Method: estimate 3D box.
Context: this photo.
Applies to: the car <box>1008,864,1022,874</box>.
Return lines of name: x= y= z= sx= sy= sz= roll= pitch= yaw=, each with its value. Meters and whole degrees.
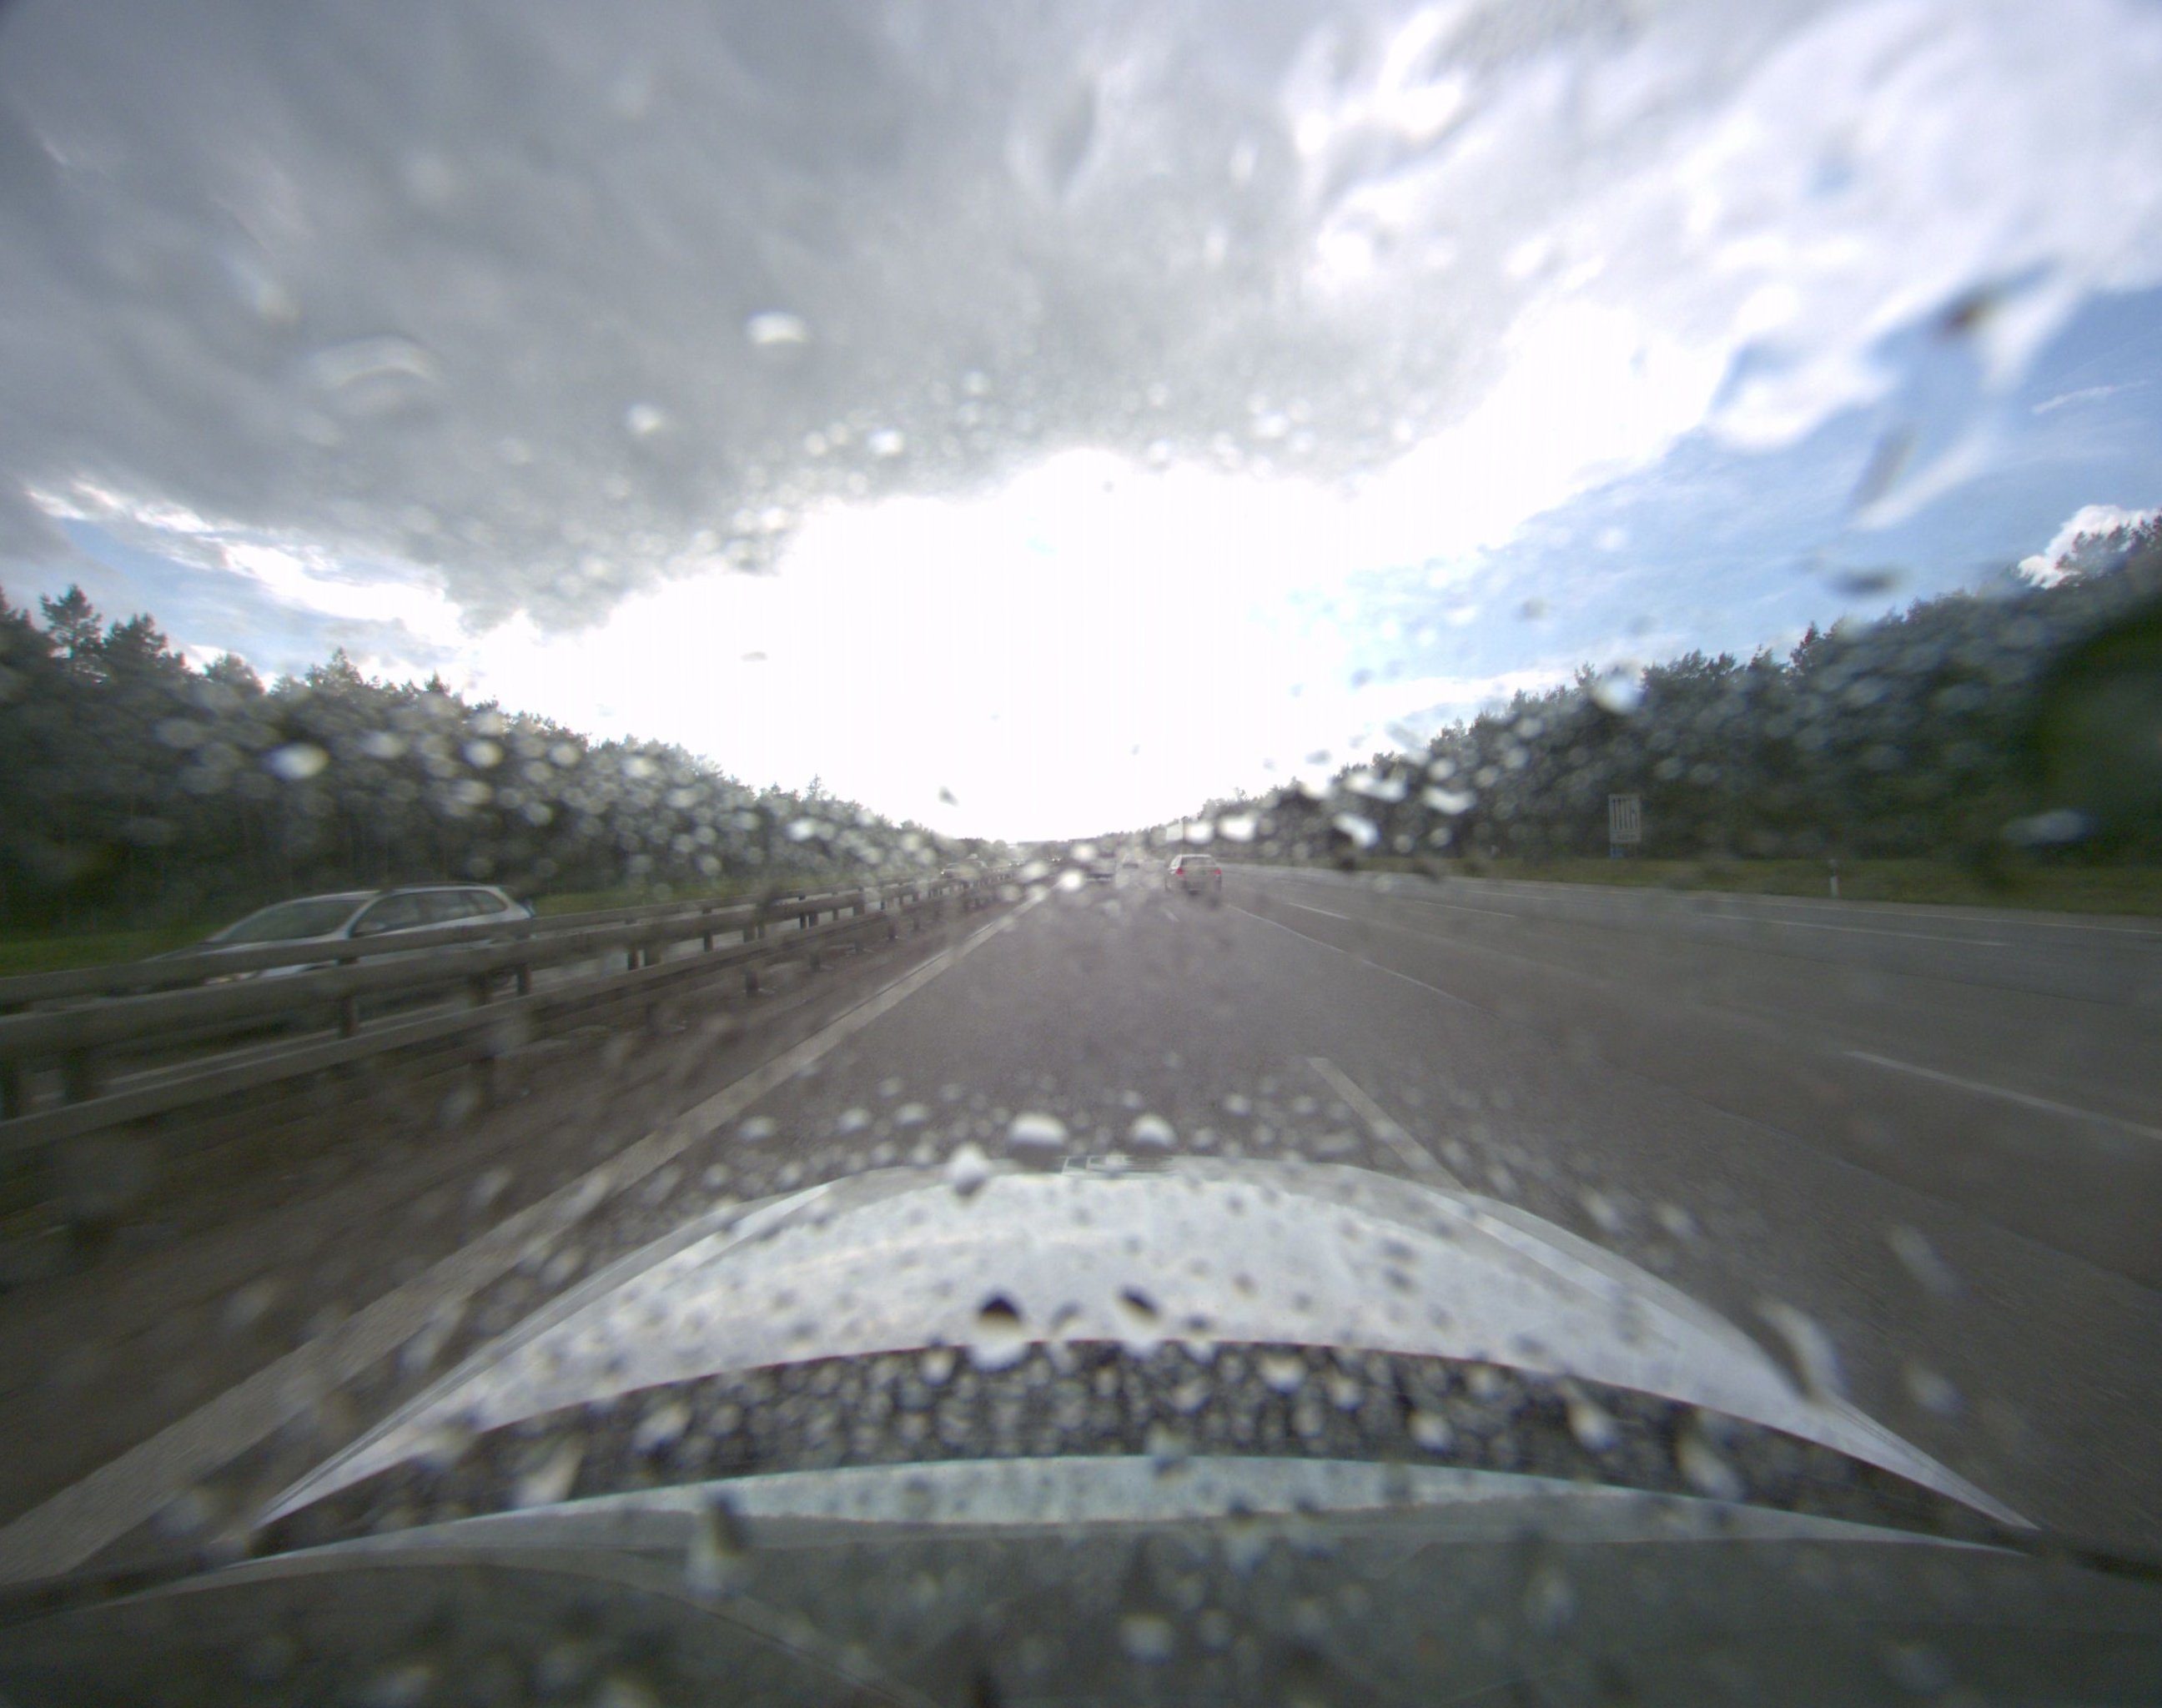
car: x=-10.535 y=2.336 z=130.254 sx=1.723 sy=1.481 sz=3.999 roll=-3 pitch=0 yaw=0

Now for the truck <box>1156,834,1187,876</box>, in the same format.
truck: x=8.727 y=0.149 z=78.915 sx=2.287 sy=3.868 sz=5.389 roll=-1 pitch=0 yaw=-1

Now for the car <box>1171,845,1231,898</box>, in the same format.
car: x=4.594 y=0.633 z=31.752 sx=2.067 sy=1.885 sz=5.019 roll=-1 pitch=0 yaw=6

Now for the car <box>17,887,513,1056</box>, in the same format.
car: x=-8.974 y=1.170 z=9.556 sx=1.686 sy=1.376 sz=4.001 roll=-2 pitch=0 yaw=2

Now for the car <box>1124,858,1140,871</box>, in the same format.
car: x=5.916 y=1.216 z=95.223 sx=1.823 sy=1.466 sz=4.003 roll=-1 pitch=0 yaw=3

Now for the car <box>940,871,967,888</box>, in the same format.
car: x=-11.620 y=2.291 z=74.395 sx=1.823 sy=1.420 sz=4.570 roll=-1 pitch=0 yaw=-1

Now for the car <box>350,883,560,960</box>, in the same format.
car: x=-16.288 y=1.689 z=21.568 sx=1.893 sy=1.547 sz=4.514 roll=-4 pitch=0 yaw=2

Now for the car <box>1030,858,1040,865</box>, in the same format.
car: x=-10.302 y=1.656 z=181.021 sx=1.805 sy=1.422 sz=4.236 roll=-4 pitch=0 yaw=0

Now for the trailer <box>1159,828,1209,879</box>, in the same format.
trailer: x=8.893 y=0.022 z=71.784 sx=2.317 sy=4.001 sz=13.404 roll=-1 pitch=0 yaw=-1

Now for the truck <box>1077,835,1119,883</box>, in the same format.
truck: x=0.953 y=0.275 z=45.356 sx=2.130 sy=2.489 sz=5.314 roll=-1 pitch=0 yaw=1

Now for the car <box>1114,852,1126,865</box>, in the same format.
car: x=6.544 y=0.765 z=137.838 sx=1.901 sy=2.013 sz=4.002 roll=-1 pitch=0 yaw=2

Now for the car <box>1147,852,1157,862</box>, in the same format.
car: x=15.057 y=0.655 z=173.216 sx=1.986 sy=2.014 sz=4.002 roll=0 pitch=0 yaw=2

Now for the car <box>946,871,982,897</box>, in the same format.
car: x=-8.331 y=2.110 z=58.323 sx=1.778 sy=1.547 sz=4.403 roll=-4 pitch=0 yaw=1
